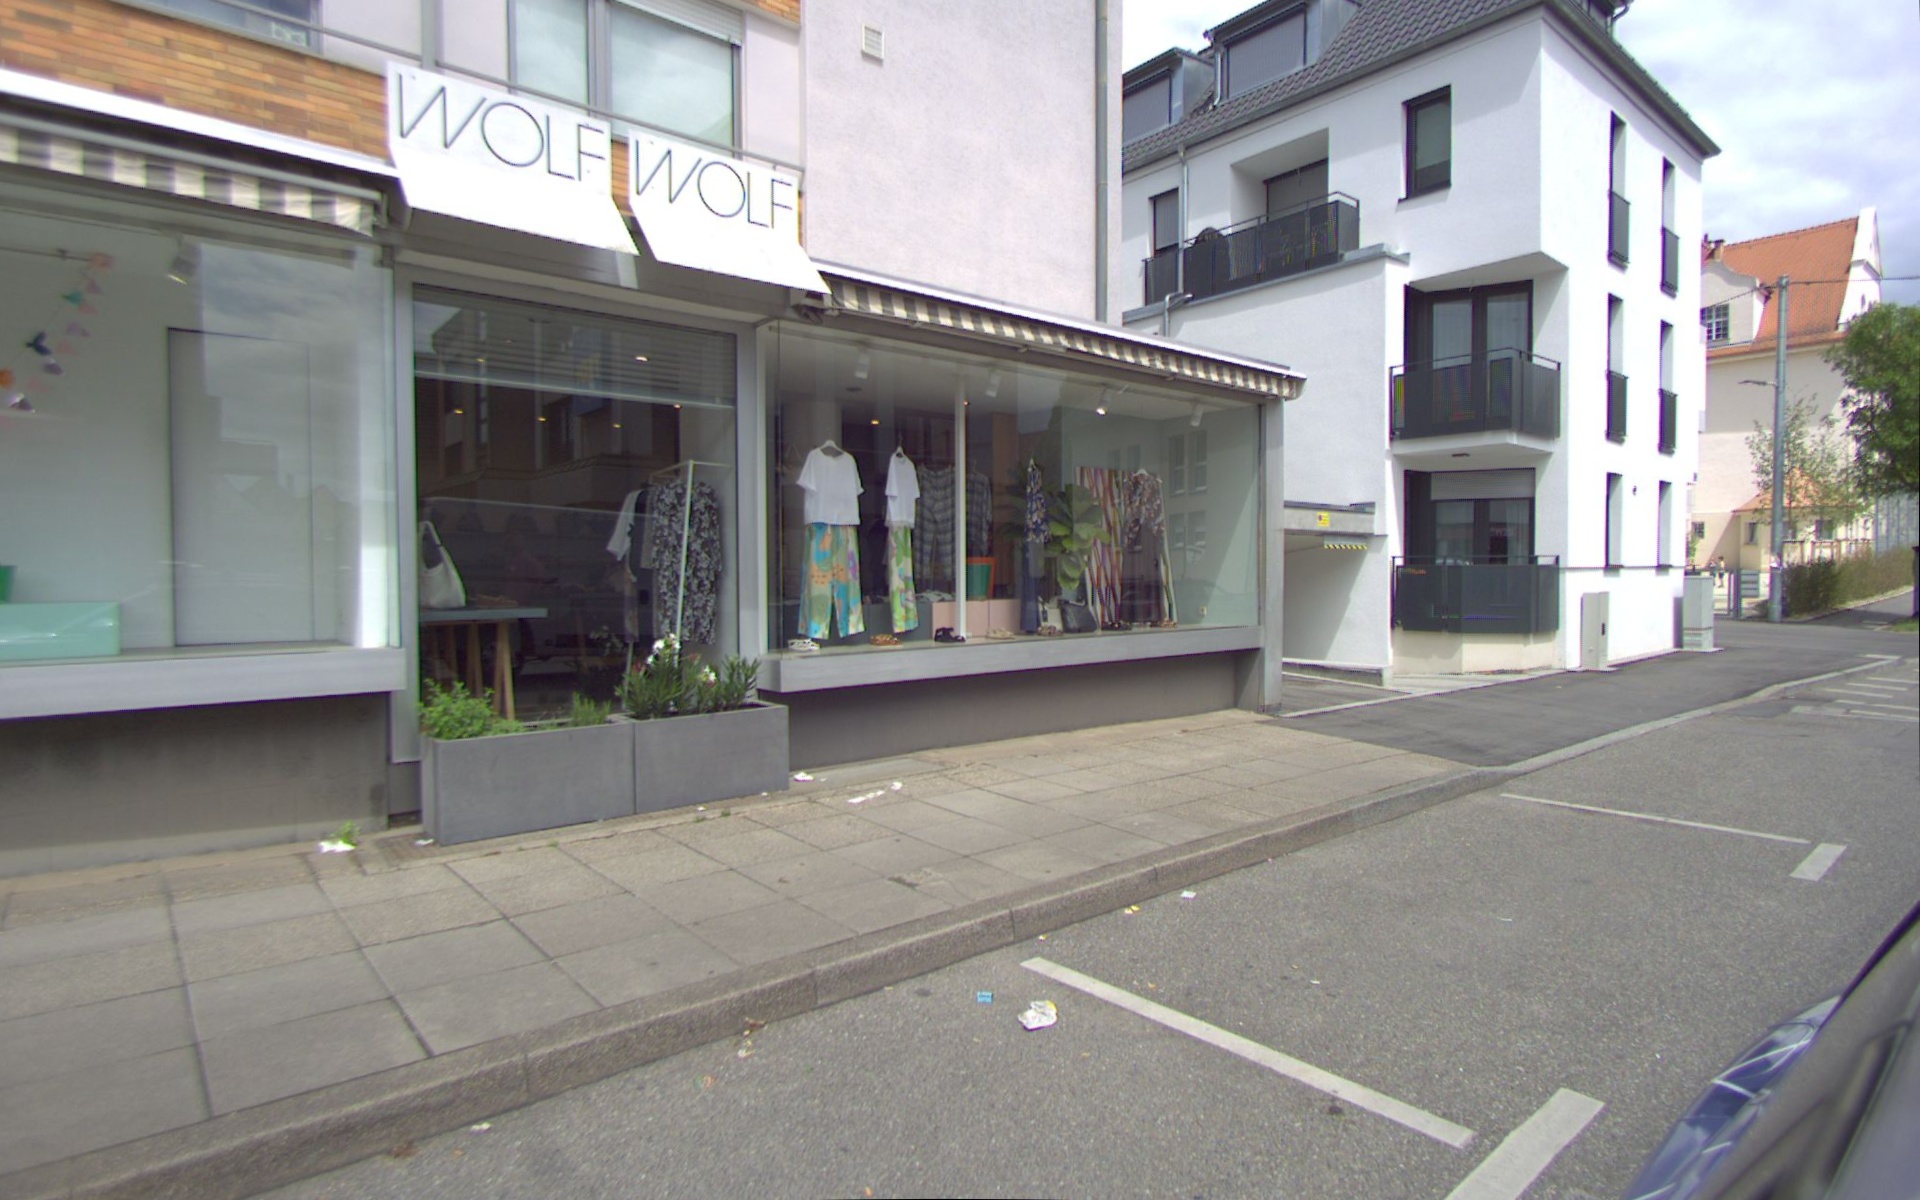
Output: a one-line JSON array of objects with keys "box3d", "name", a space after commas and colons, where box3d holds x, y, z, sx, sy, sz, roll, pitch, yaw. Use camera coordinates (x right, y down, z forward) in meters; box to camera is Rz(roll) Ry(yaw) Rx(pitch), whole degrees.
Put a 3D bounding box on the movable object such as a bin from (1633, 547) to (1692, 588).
[{"box3d": [25.906, -1.204, 37.309, 1.775, 1.464, 1.351, -3, 2, -39], "name": "movable object such as a bin"}]
